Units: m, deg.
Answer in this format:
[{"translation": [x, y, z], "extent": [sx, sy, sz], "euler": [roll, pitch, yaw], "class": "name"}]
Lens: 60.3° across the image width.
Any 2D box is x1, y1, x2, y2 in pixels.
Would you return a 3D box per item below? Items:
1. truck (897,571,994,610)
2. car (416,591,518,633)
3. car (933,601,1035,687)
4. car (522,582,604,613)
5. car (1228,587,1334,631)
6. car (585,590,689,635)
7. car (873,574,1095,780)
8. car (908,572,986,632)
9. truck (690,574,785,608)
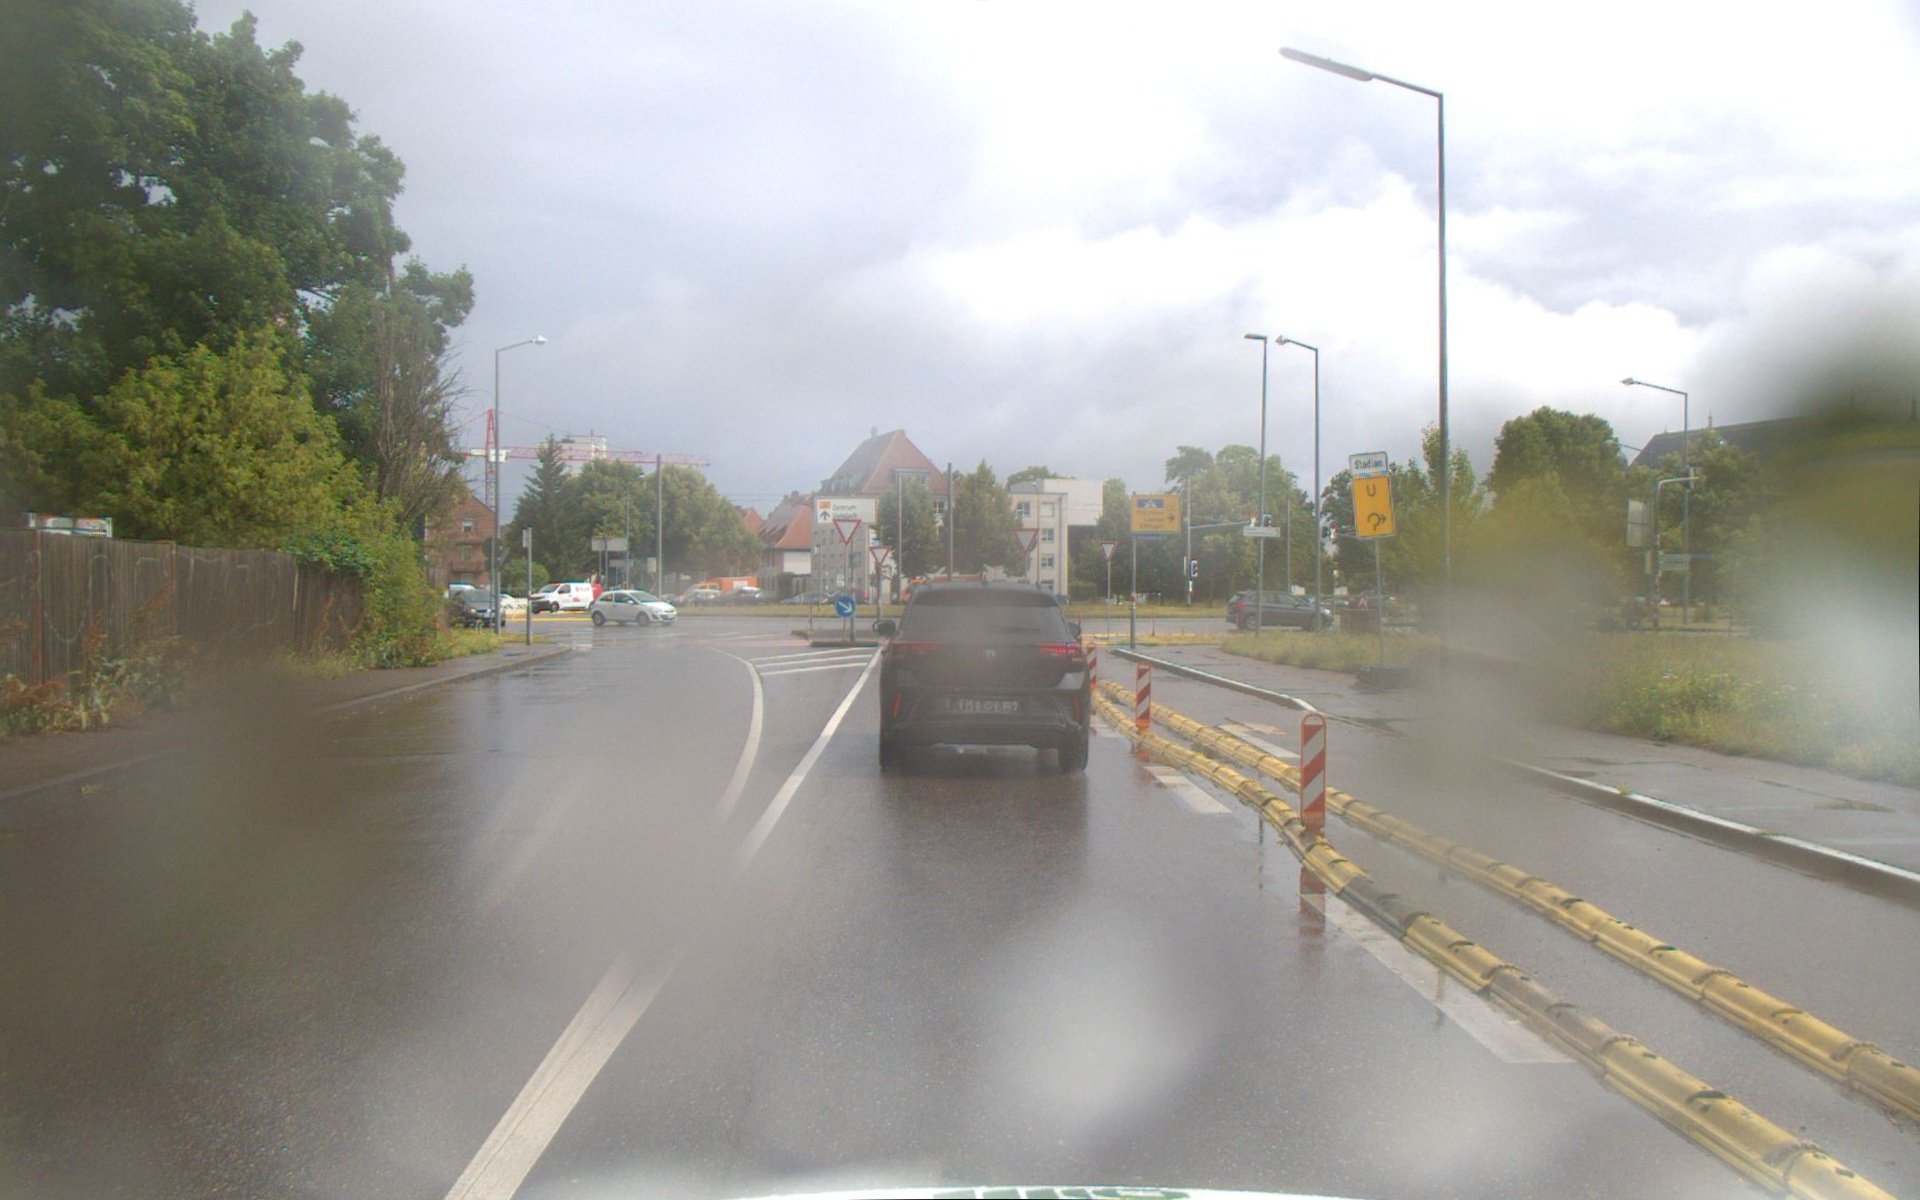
[{"translation": [-1.031, -0.687, 120.202], "extent": [6.922, 2.696, 2.330], "euler": [0, 0, 0], "class": "truck"}, {"translation": [-21.287, 0.515, 71.336], "extent": [4.333, 1.579, 1.782], "euler": [-2, 1, 33], "class": "car"}, {"translation": [0.409, 0.803, 32.005], "extent": [1.701, 1.540, 3.601], "euler": [0, 0, -4], "class": "car"}, {"translation": [-25.062, -0.157, 104.683], "extent": [1.856, 1.909, 5.113], "euler": [0, 0, 36], "class": "car"}, {"translation": [12.720, 0.348, 65.709], "extent": [3.861, 1.673, 1.671], "euler": [0, 0, 0], "class": "car"}, {"translation": [-13.653, 0.528, 69.878], "extent": [3.908, 1.862, 1.999], "euler": [0, 0, 25], "class": "car"}, {"translation": [0.100, 0.615, 14.940], "extent": [1.675, 1.601, 3.679], "euler": [1, 0, -4], "class": "car"}, {"translation": [-0.377, 0.048, 53.688], "extent": [1.824, 1.841, 4.407], "euler": [0, 0, 9], "class": "car"}, {"translation": [-16.667, -0.699, 123.981], "extent": [6.620, 2.485, 2.414], "euler": [0, 0, -26], "class": "truck"}]
